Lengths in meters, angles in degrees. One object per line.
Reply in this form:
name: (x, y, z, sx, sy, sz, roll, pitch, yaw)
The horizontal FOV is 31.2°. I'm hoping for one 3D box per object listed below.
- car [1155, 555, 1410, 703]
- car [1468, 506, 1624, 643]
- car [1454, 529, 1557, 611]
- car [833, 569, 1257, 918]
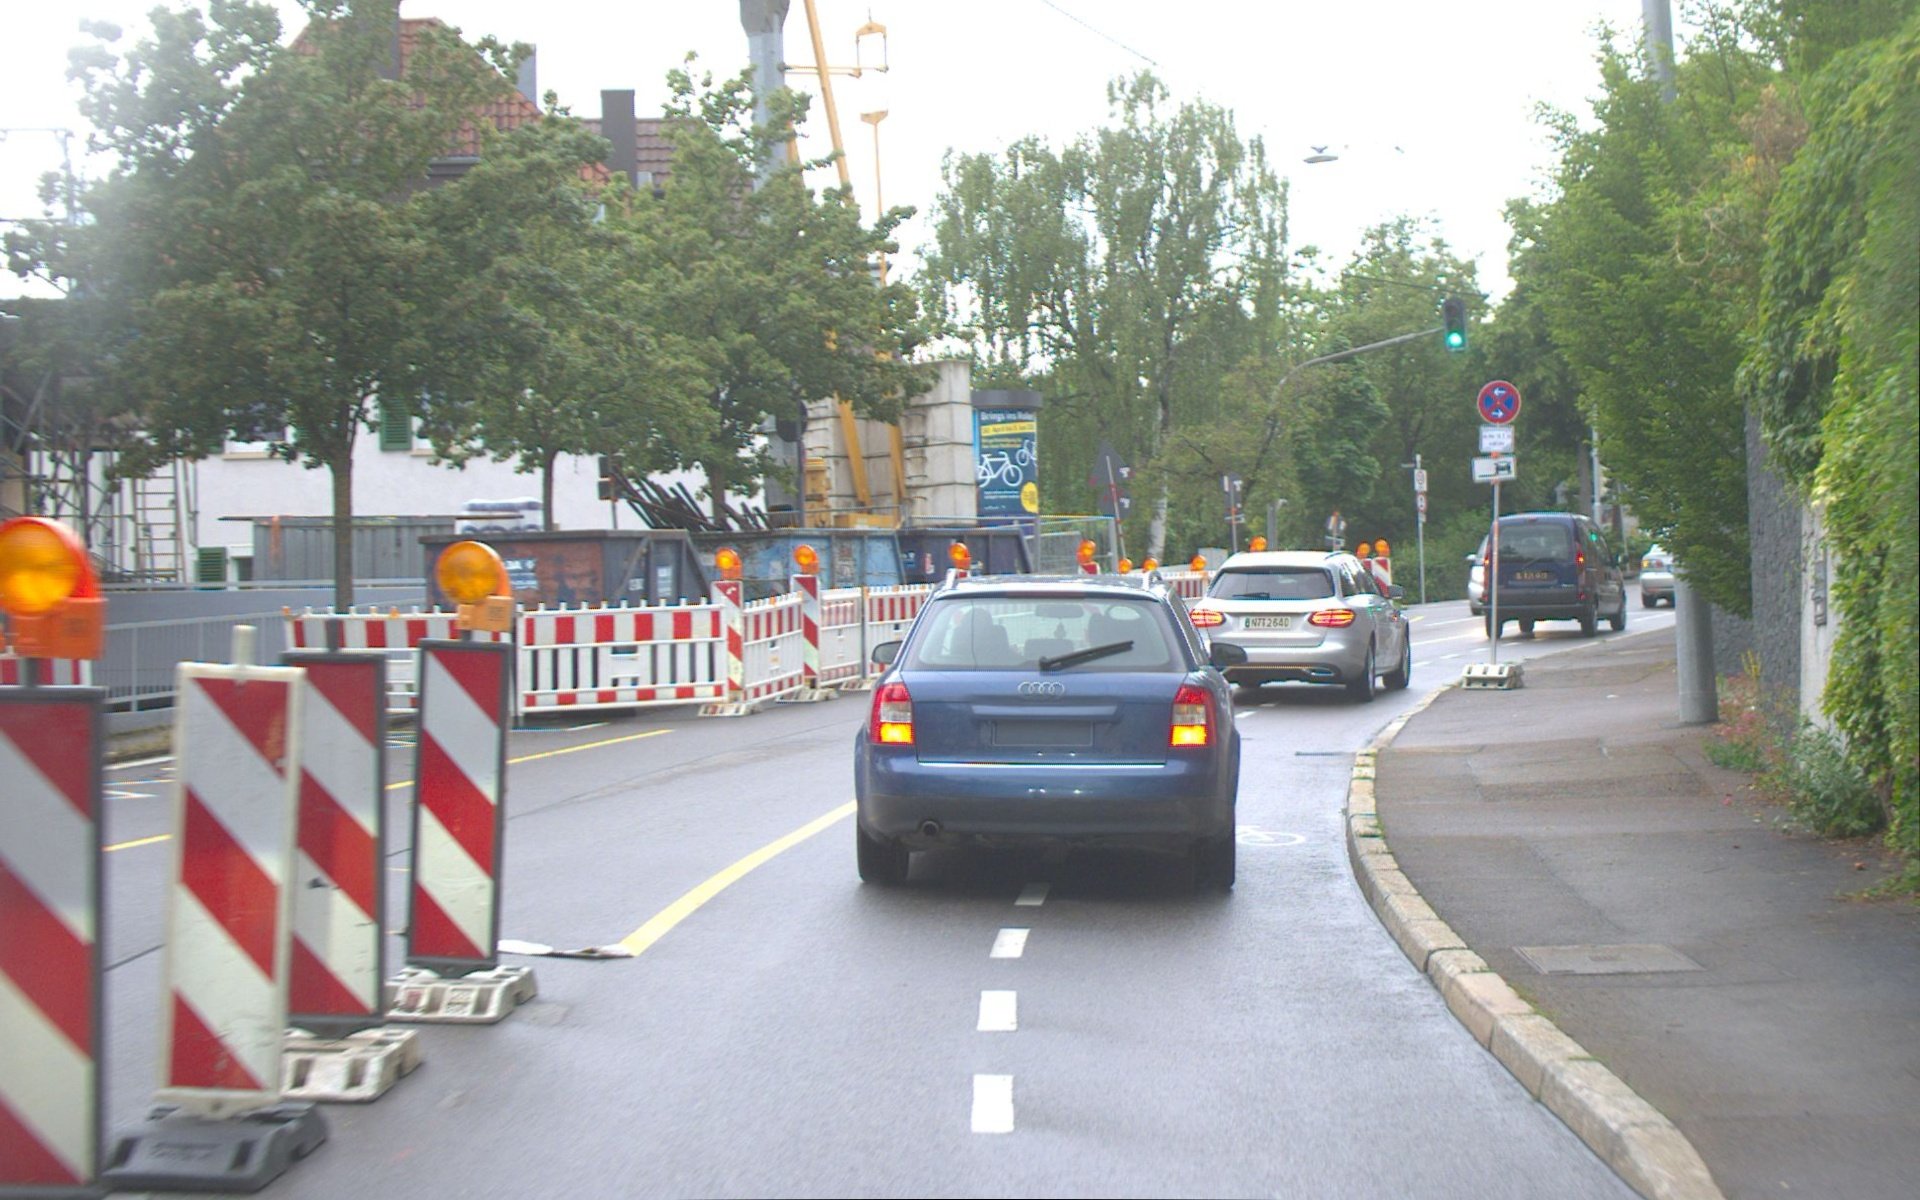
car: (3.322, 0.253, 34.645, 1.910, 1.384, 4.347, 0, 0, 14)
car: (8.909, -0.421, 52.023, 1.732, 1.888, 4.052, -4, 0, 17)
car: (10.317, -0.576, 64.908, 1.457, 1.521, 2.920, 0, 1, 18)
car: (0.446, 0.593, 16.688, 1.777, 1.434, 4.000, 1, 1, 2)
